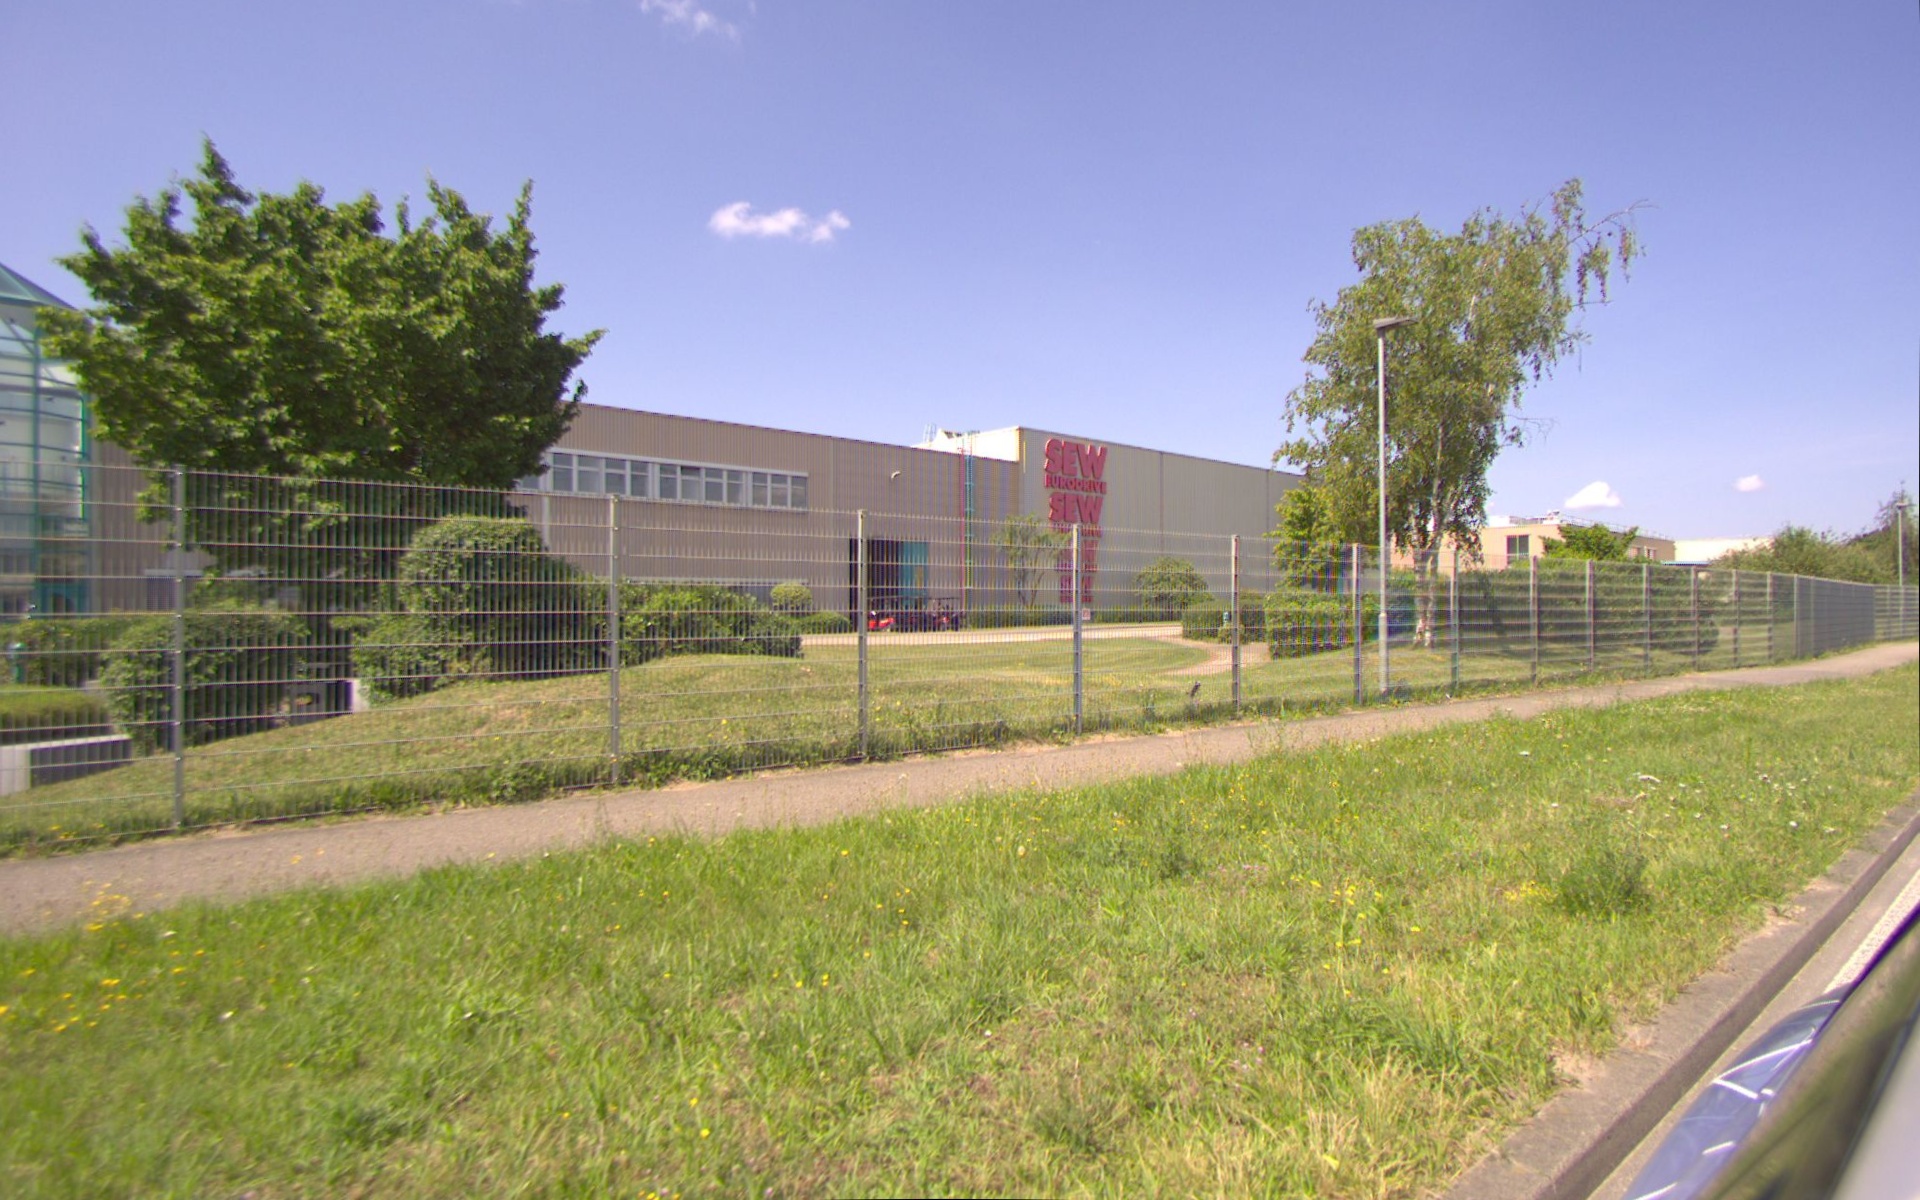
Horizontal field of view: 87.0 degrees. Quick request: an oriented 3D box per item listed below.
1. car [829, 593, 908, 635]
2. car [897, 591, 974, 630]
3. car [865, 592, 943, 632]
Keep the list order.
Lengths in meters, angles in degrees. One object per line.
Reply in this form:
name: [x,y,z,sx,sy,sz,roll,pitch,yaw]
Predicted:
car: [-4.721,0.691,51.867,1.938,2.039,4.163,0,0,-43]
car: [-1.386,0.550,55.182,1.938,2.039,4.163,0,0,-43]
car: [-3.014,0.619,53.631,1.938,2.039,4.163,0,0,-43]
